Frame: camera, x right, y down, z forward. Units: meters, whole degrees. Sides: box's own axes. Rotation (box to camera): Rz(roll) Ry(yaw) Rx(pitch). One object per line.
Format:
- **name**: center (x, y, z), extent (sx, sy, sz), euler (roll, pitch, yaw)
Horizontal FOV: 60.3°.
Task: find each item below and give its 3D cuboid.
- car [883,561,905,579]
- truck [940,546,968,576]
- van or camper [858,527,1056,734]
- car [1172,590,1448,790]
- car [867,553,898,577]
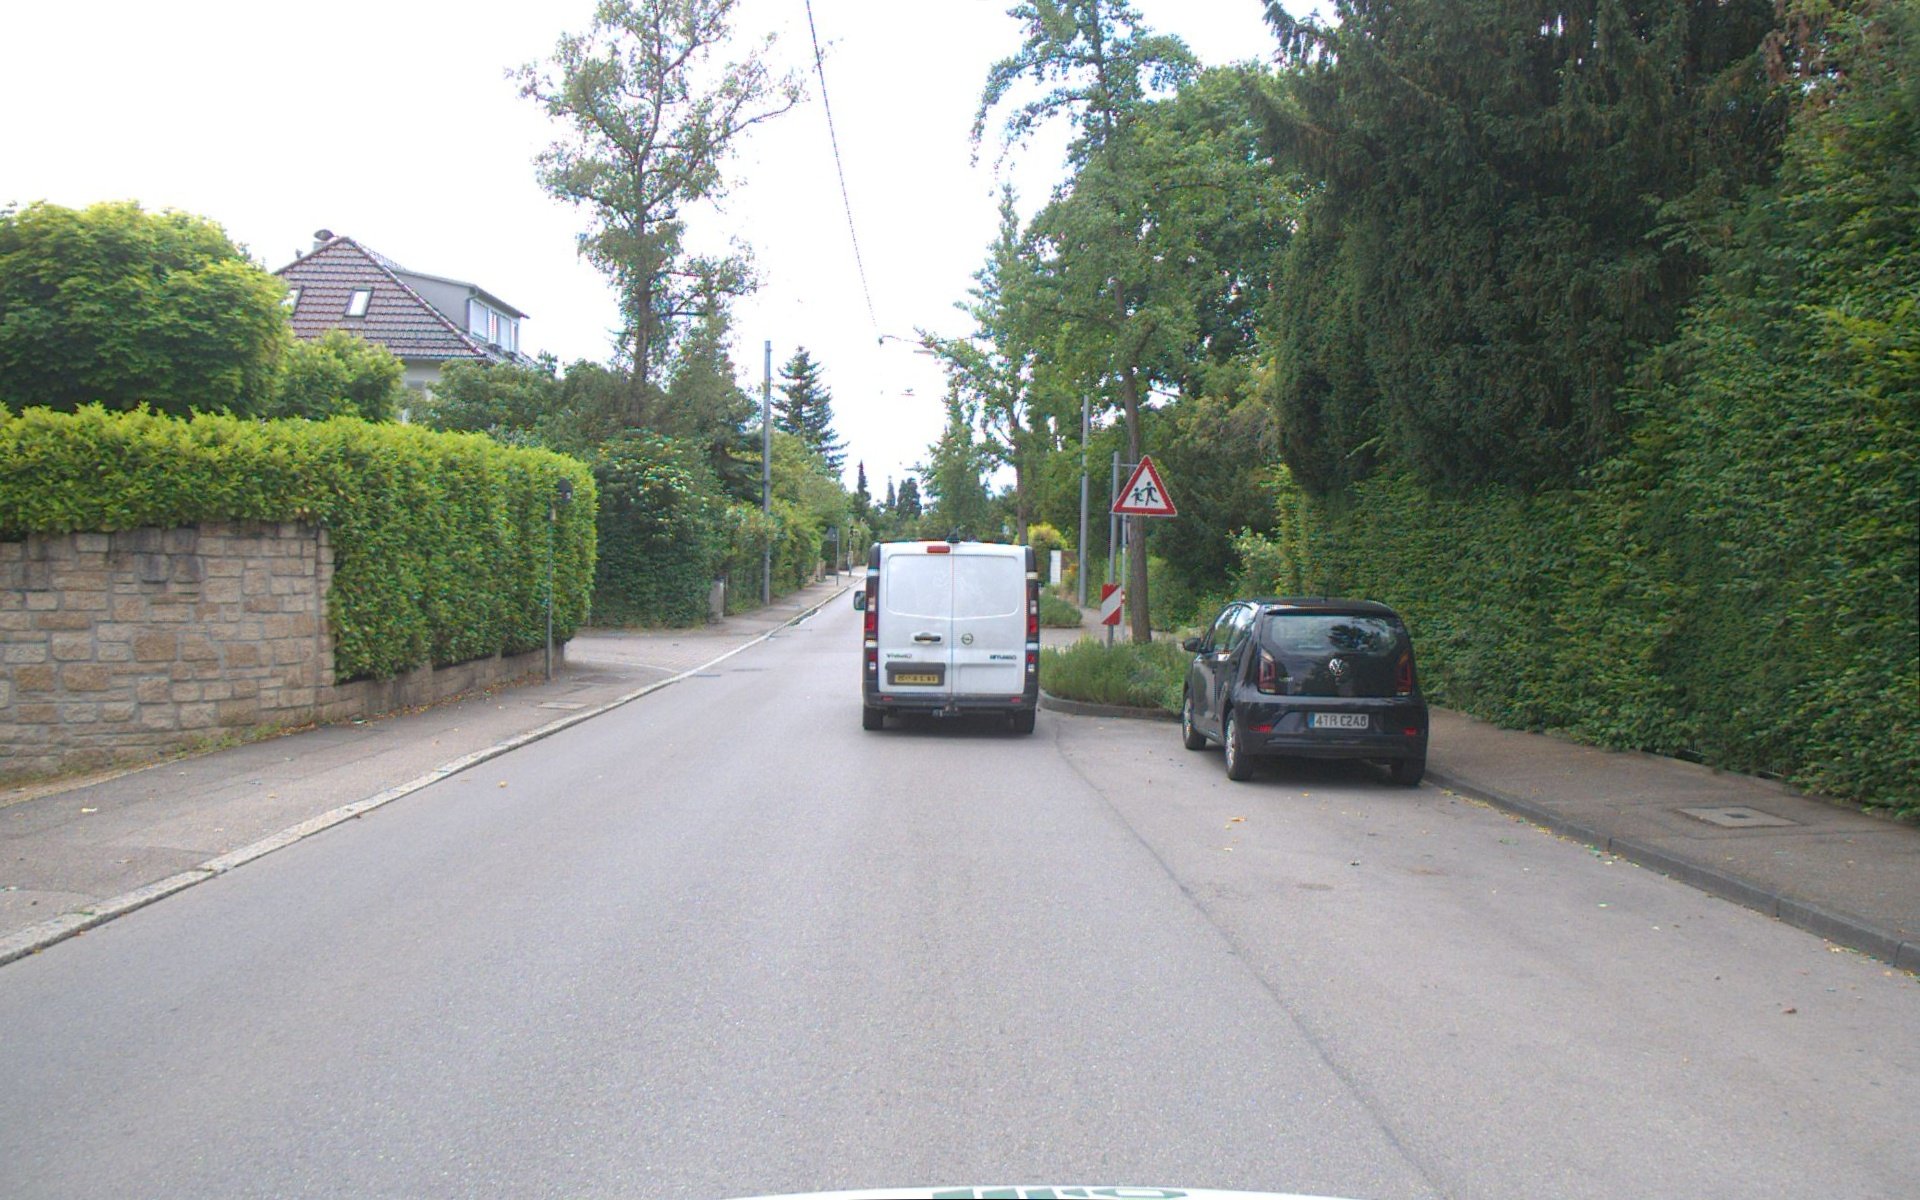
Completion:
- **car**: center (-5.522, -2.519, 137.960), extent (1.769, 1.456, 4.116), euler (0, 1, -3)
- **truck**: center (-0.560, -3.429, 144.653), extent (2.143, 2.514, 7.429), euler (1, 2, -2)
- **van or camper**: center (-0.112, 0.276, 18.616), extent (1.900, 1.988, 4.763), euler (1, 1, -2)
- **car**: center (2.985, 0.700, 14.840), extent (1.590, 1.498, 3.739), euler (1, 1, -1)
- **car**: center (-5.029, -2.323, 107.936), extent (1.768, 1.456, 4.301), euler (-2, 2, 0)
